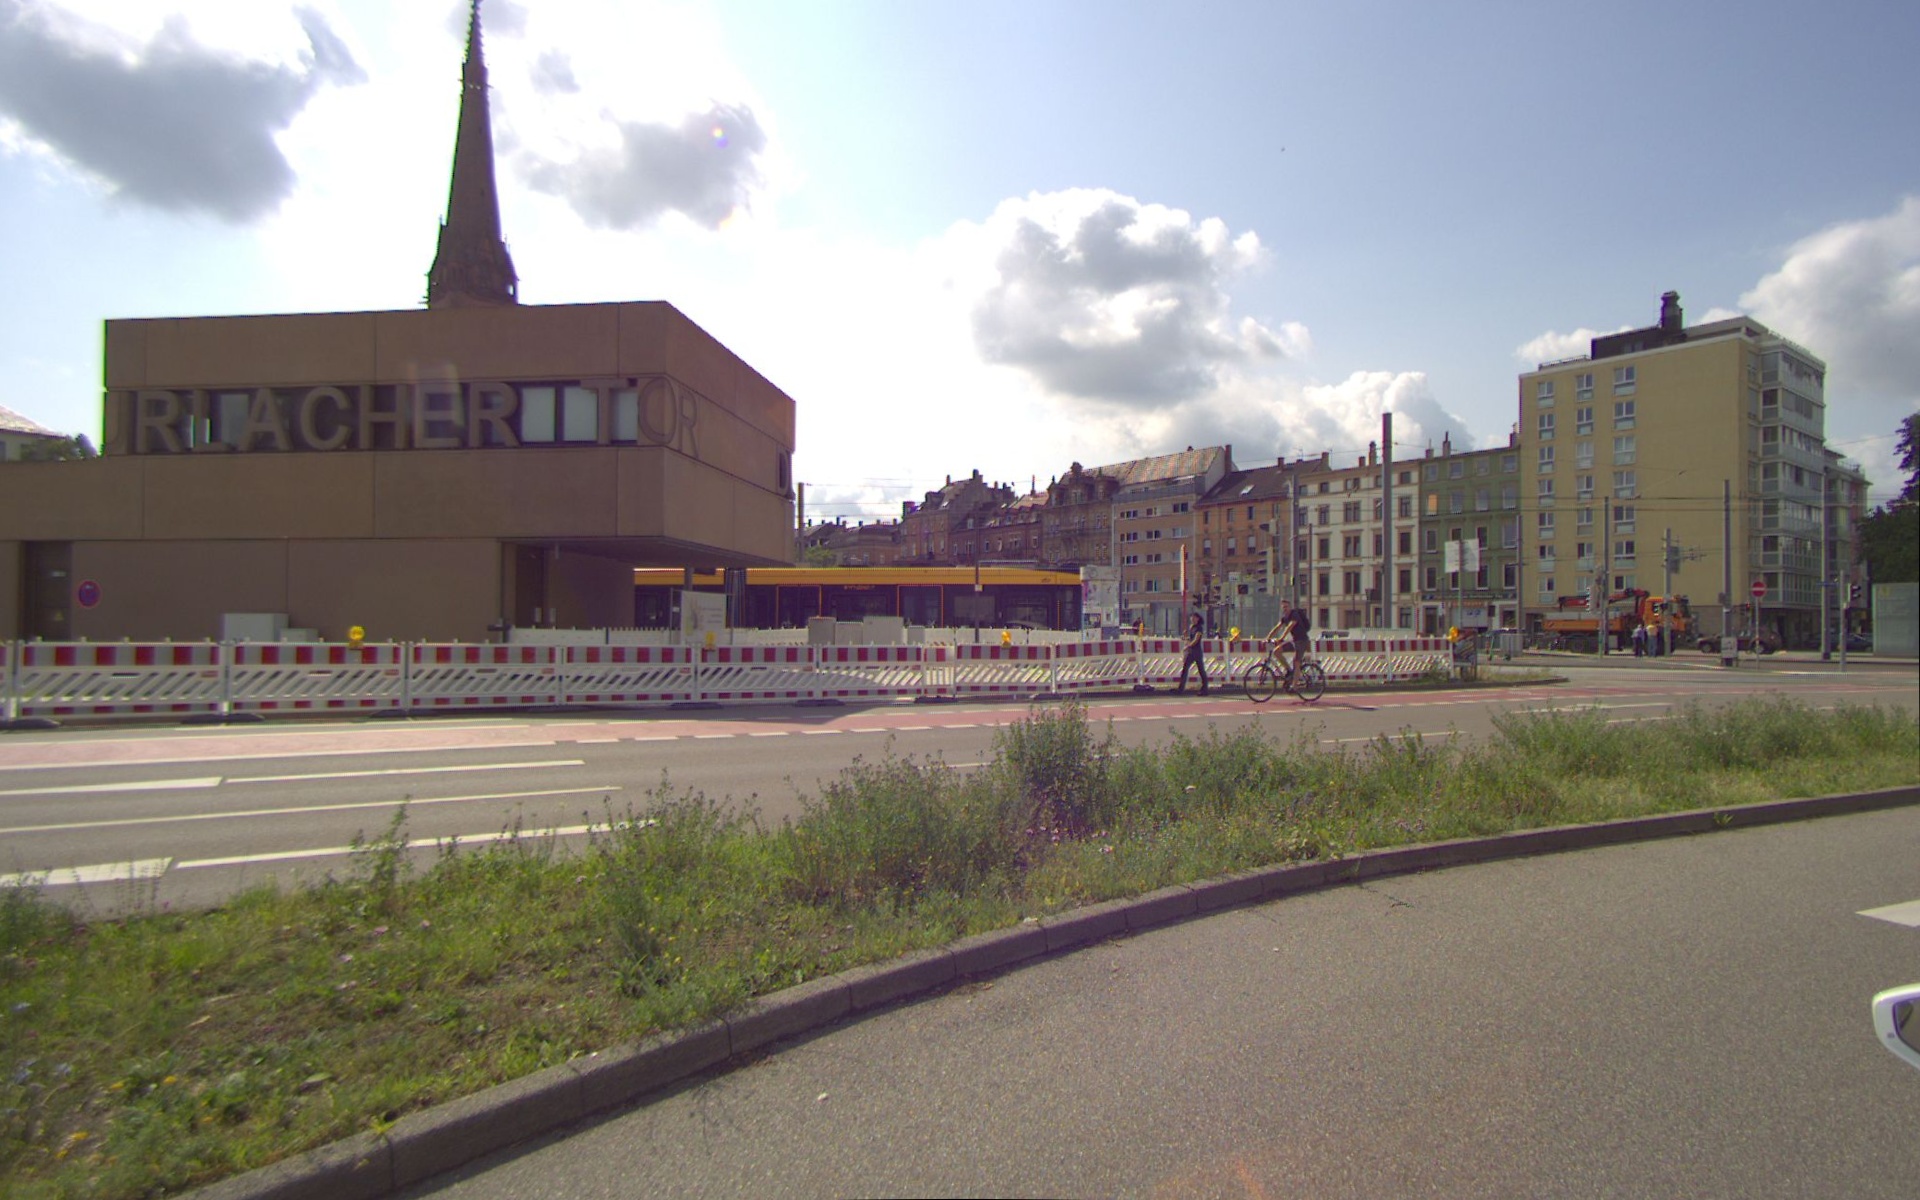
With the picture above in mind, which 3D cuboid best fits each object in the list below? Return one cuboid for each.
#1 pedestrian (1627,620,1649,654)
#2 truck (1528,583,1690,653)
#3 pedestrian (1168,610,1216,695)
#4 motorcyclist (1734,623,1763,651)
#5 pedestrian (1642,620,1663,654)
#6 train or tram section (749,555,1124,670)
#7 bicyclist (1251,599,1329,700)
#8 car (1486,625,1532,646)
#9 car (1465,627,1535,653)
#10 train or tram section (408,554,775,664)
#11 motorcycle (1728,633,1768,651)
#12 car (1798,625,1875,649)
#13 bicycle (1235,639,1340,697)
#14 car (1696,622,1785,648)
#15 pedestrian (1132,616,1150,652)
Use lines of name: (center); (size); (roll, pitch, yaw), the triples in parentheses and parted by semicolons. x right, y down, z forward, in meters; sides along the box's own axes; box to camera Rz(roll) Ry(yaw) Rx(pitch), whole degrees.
pedestrian: (38.254, 2.084, 56.636); (0.807, 1.884, 0.697); (1, -1, -22)
truck: (38.593, 1.091, 60.011); (2.182, 3.907, 7.851); (1, -2, -39)
pedestrian: (4.728, 1.055, 20.492); (0.632, 1.703, 0.733); (1, -1, -25)
motorcyclist: (50.461, 2.377, 64.287); (1.222, 1.805, 0.887); (1, -1, -17)
pedestrian: (38.526, 2.065, 55.896); (0.770, 1.893, 0.649); (1, -1, -21)
train or tram section: (-0.727, 0.386, 33.598); (12.161, 3.619, 2.670); (0, -1, 8)
bicyclist: (6.185, 0.913, 18.838); (1.143, 1.847, 0.808); (1, -1, -25)
car: (41.981, 2.695, 76.909); (1.663, 1.520, 3.678); (0, -1, 2)
car: (39.216, 2.871, 73.060); (1.797, 1.528, 4.037); (1, 2, -37)
train or tram section: (-12.812, 0.297, 35.183); (12.161, 3.611, 2.632); (0, -1, 7)
motorcycle: (50.420, 2.688, 64.249); (2.396, 1.130, 0.781); (1, -1, -17)
car: (63.308, 2.646, 72.579); (1.984, 1.684, 3.952); (1, -1, -41)
bicycle: (6.138, 1.251, 18.789); (1.991, 1.015, 0.614); (1, -1, -26)
car: (48.037, 2.156, 61.854); (1.797, 1.528, 4.038); (1, -1, -37)
pedestrian: (9.200, 1.743, 51.174); (0.788, 1.820, 0.966); (0, -1, 4)
